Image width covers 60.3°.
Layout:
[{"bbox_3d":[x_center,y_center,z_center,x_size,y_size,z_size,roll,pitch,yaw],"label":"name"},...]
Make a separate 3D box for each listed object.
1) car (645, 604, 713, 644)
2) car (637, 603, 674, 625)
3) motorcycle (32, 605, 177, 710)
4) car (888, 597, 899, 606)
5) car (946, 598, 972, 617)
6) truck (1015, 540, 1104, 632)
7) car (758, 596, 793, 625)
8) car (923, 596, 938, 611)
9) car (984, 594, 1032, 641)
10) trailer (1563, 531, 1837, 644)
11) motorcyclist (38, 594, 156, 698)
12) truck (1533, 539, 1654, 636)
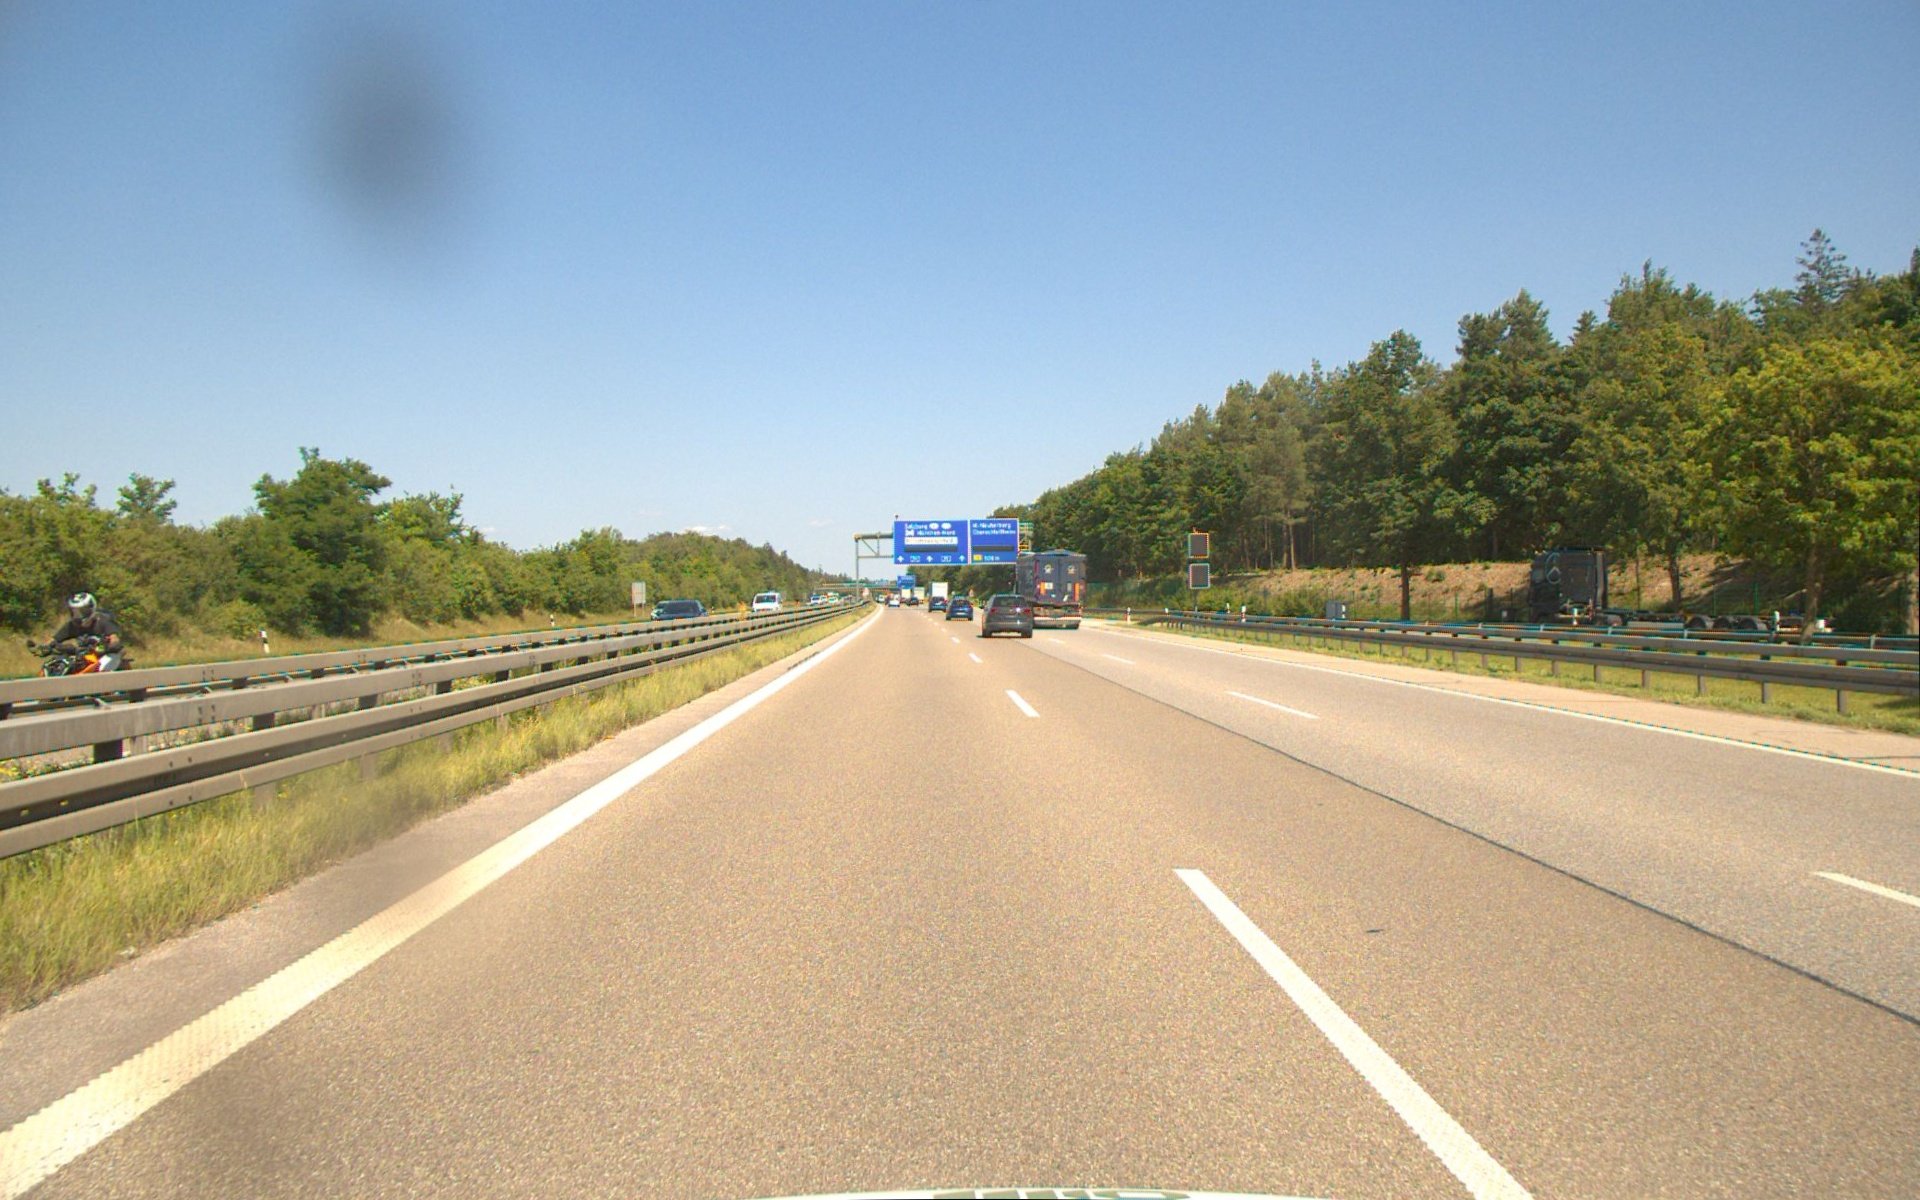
[{"bbox_3d":[-10.736,0.887,63.385,1.953,1.464,4.203,0,0,-1],"label":"car"},{"bbox_3d":[-20.914,0.938,113.795,1.751,1.464,4.520,0,0,-1],"label":"car"},{"bbox_3d":[-9.647,0.618,18.735,0.650,1.095,1.881,-2,0,-1],"label":"motorcycle"},{"bbox_3d":[-10.011,0.188,248.790,1.441,1.249,3.410,-1,0,-1],"label":"car"},{"bbox_3d":[-0.094,0.490,111.218,1.674,1.176,3.688,-1,0,-1],"label":"car"},{"bbox_3d":[5.101,-0.711,87.811,3.703,4.499,14.048,0,0,-1],"label":"truck"},{"bbox_3d":[-12.722,0.685,114.342,1.881,1.905,5.516,2,0,-1],"label":"car"},{"bbox_3d":[-3.001,0.379,169.101,1.441,1.422,3.410,2,0,-1],"label":"car"},{"bbox_3d":[1.870,0.657,64.007,1.762,1.698,4.259,1,1,2],"label":"car"},{"bbox_3d":[28.476,-0.454,64.764,2.528,3.983,12.701,0,0,-14],"label":"trailer"},{"bbox_3d":[-9.626,0.500,18.484,0.857,1.095,0.811,-2,0,-1],"label":"motorcyclist"},{"bbox_3d":[27.007,-0.524,70.717,2.528,3.983,4.848,0,0,-14],"label":"truck"}]
